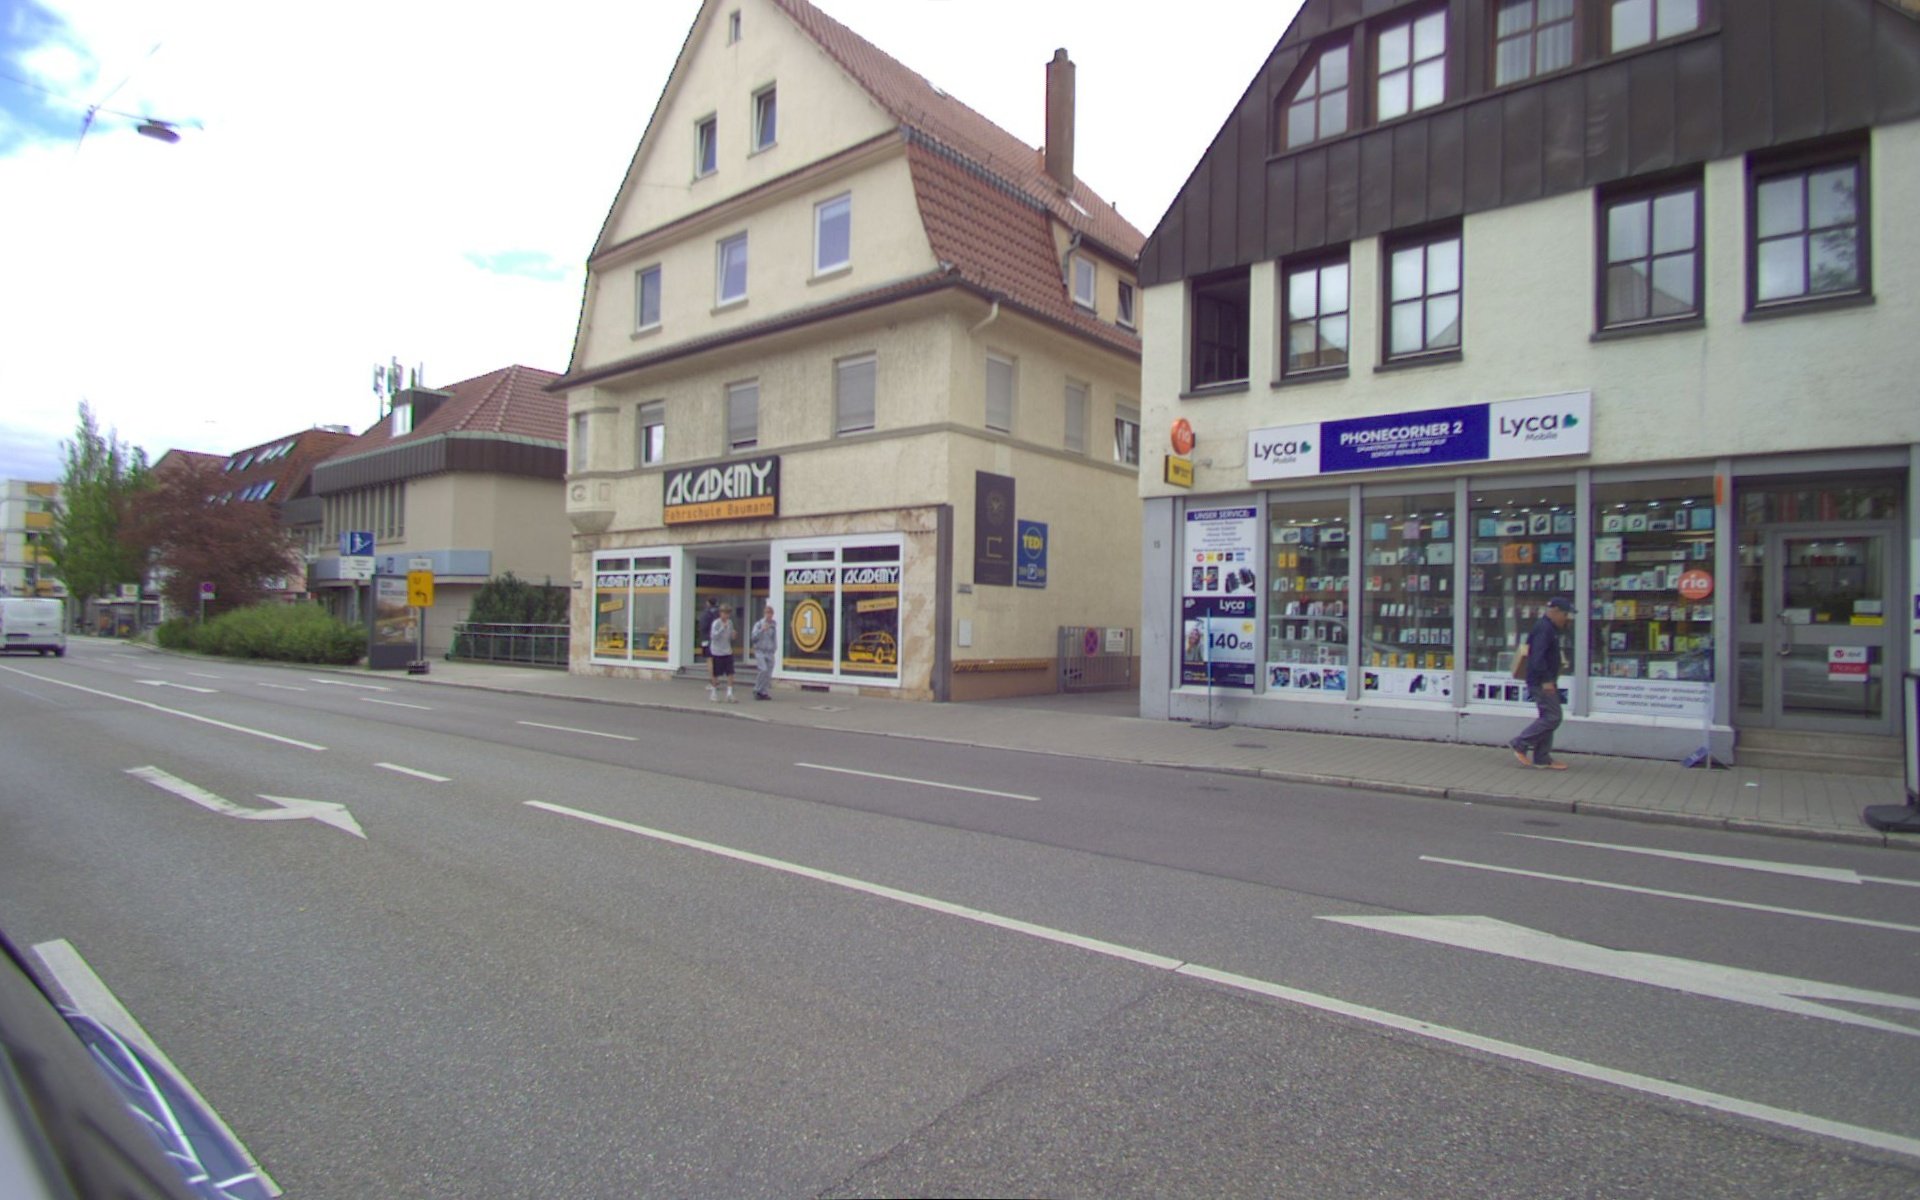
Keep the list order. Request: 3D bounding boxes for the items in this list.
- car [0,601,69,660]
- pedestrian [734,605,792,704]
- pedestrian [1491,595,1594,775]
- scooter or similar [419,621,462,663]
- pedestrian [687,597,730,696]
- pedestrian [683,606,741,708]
[{"bbox_3d":[-32.470,1.036,34.910,4.318,1.924,1.932,-1,-2,40],"label":"car"},{"bbox_3d":[-3.501,0.951,18.012,0.709,1.683,0.681,-1,1,40],"label":"pedestrian"},{"bbox_3d":[5.857,0.814,10.176,0.775,1.726,0.680,-1,-1,41],"label":"pedestrian"},{"bbox_3d":[-17.698,1.429,34.496,0.536,1.404,1.182,0,-2,25],"label":"scooter or similar"},{"bbox_3d":[-4.965,0.899,19.998,0.592,1.903,0.544,-1,0,36],"label":"pedestrian"},{"bbox_3d":[-4.300,0.967,17.539,0.742,1.703,0.680,-1,-1,40],"label":"pedestrian"}]
